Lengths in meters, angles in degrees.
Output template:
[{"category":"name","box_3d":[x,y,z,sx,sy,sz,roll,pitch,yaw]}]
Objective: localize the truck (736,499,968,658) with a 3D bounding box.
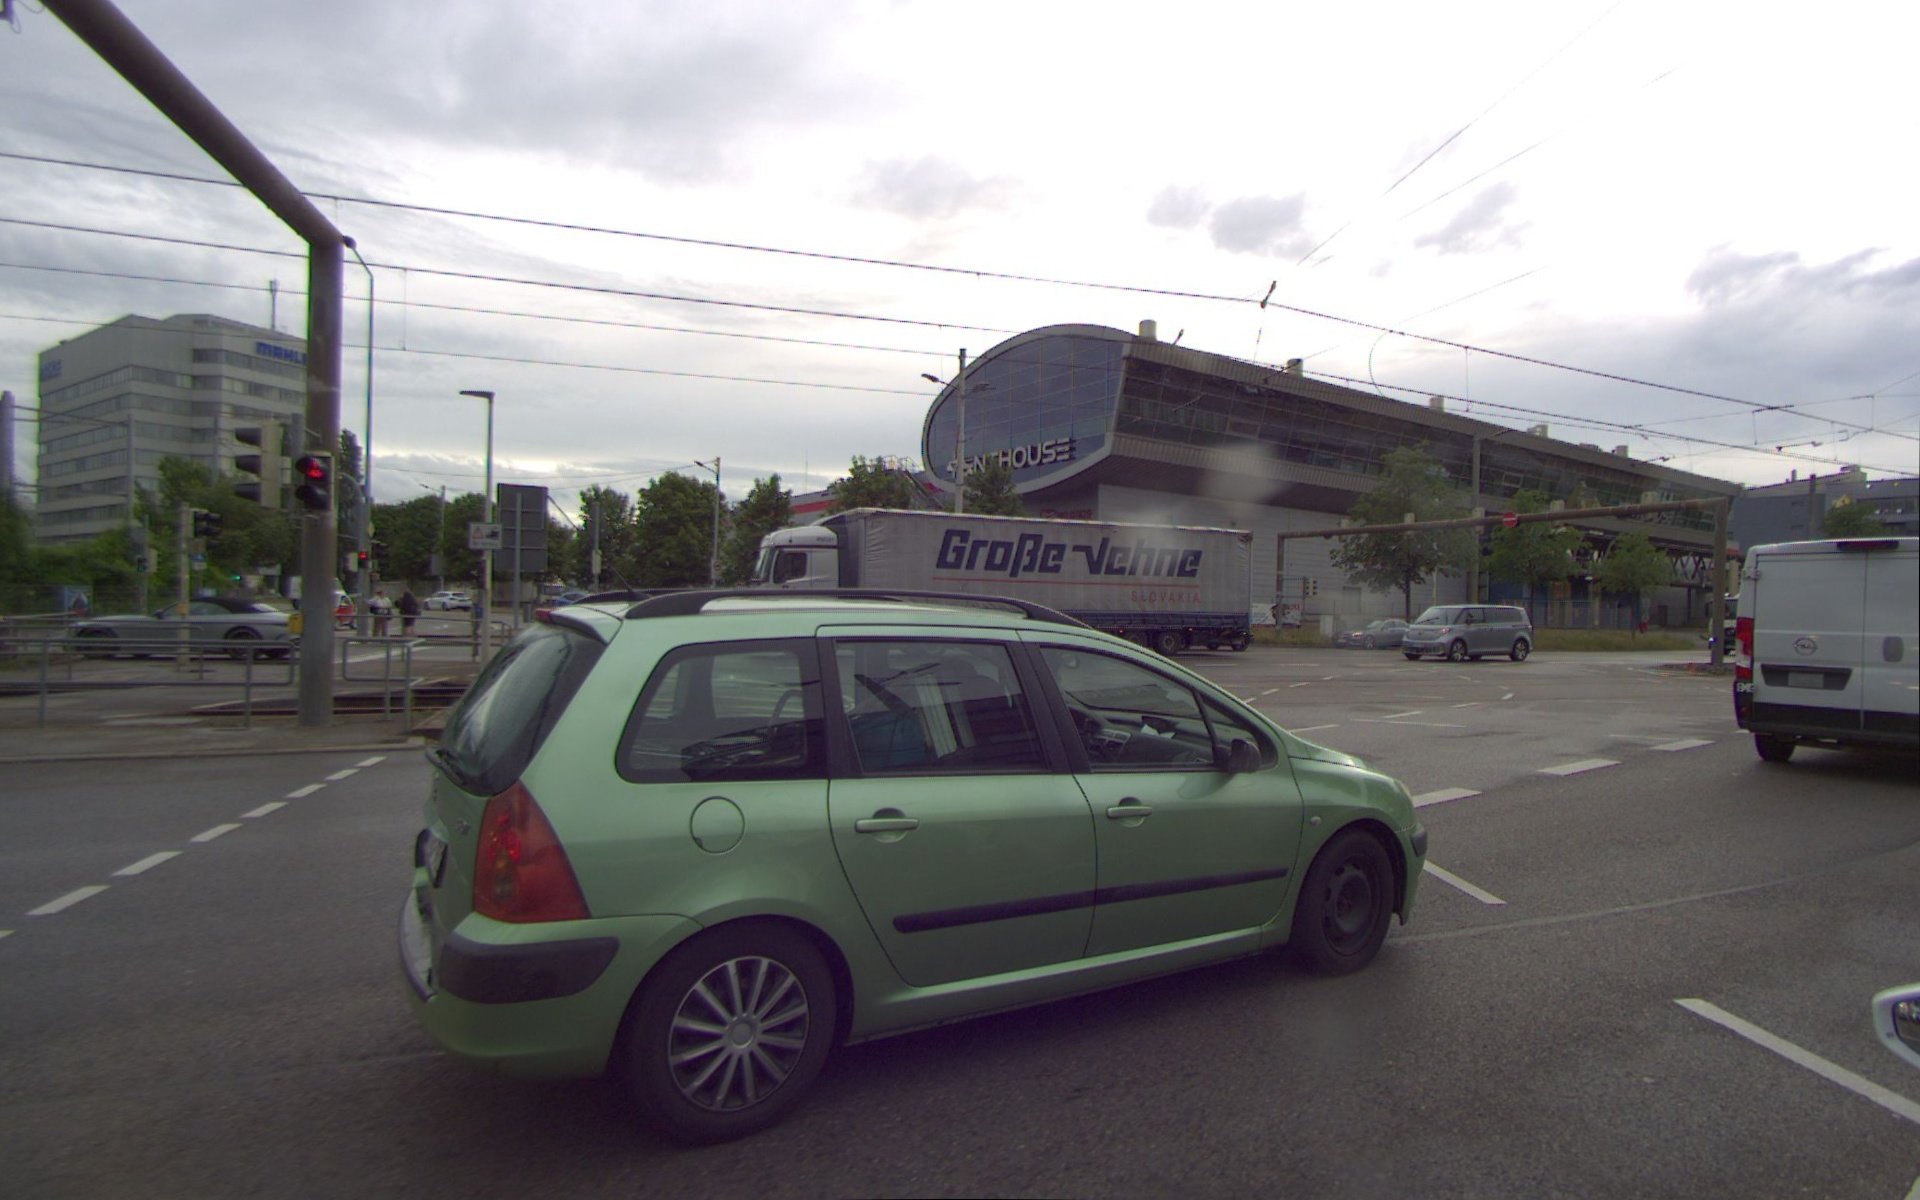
[{"category":"truck","box_3d":[-3.130,-0.496,28.941,6.096,4.185,2.661,2,0,-22]}]

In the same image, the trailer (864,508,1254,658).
[{"category":"trailer","box_3d":[3.384,-0.327,31.740,12.566,4.179,2.643,2,-1,-24]}]

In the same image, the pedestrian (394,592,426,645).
[{"category":"pedestrian","box_3d":[-17.936,0.602,32.771,0.727,1.685,0.725,2,1,-16]}]

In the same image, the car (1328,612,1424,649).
[{"category":"car","box_3d":[19.384,1.396,46.711,4.599,1.630,1.980,1,0,-35]}]

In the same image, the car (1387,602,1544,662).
[{"category":"car","box_3d":[17.264,1.087,34.303,4.834,1.862,1.990,1,2,-21]}]

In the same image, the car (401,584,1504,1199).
[{"category":"car","box_3d":[0.198,0.759,4.196,4.354,1.488,1.685,1,2,-32]}]

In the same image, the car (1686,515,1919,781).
[{"category":"car","box_3d":[10.037,0.471,10.658,4.859,2.324,2.427,2,0,-37]}]

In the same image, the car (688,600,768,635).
[{"category":"car","box_3d":[-10.246,0.757,44.164,1.982,1.420,3.958,1,0,-37]}]

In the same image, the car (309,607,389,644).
[{"category":"car","box_3d":[-26.304,1.058,43.335,1.426,1.455,3.315,2,0,-1]}]

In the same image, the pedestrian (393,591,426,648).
[{"category":"pedestrian","box_3d":[-17.423,0.612,31.788,0.727,1.728,0.725,2,1,-16]}]

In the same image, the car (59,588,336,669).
[{"category":"car","box_3d":[-16.734,0.621,22.310,4.489,1.576,1.903,2,2,-14]}]
